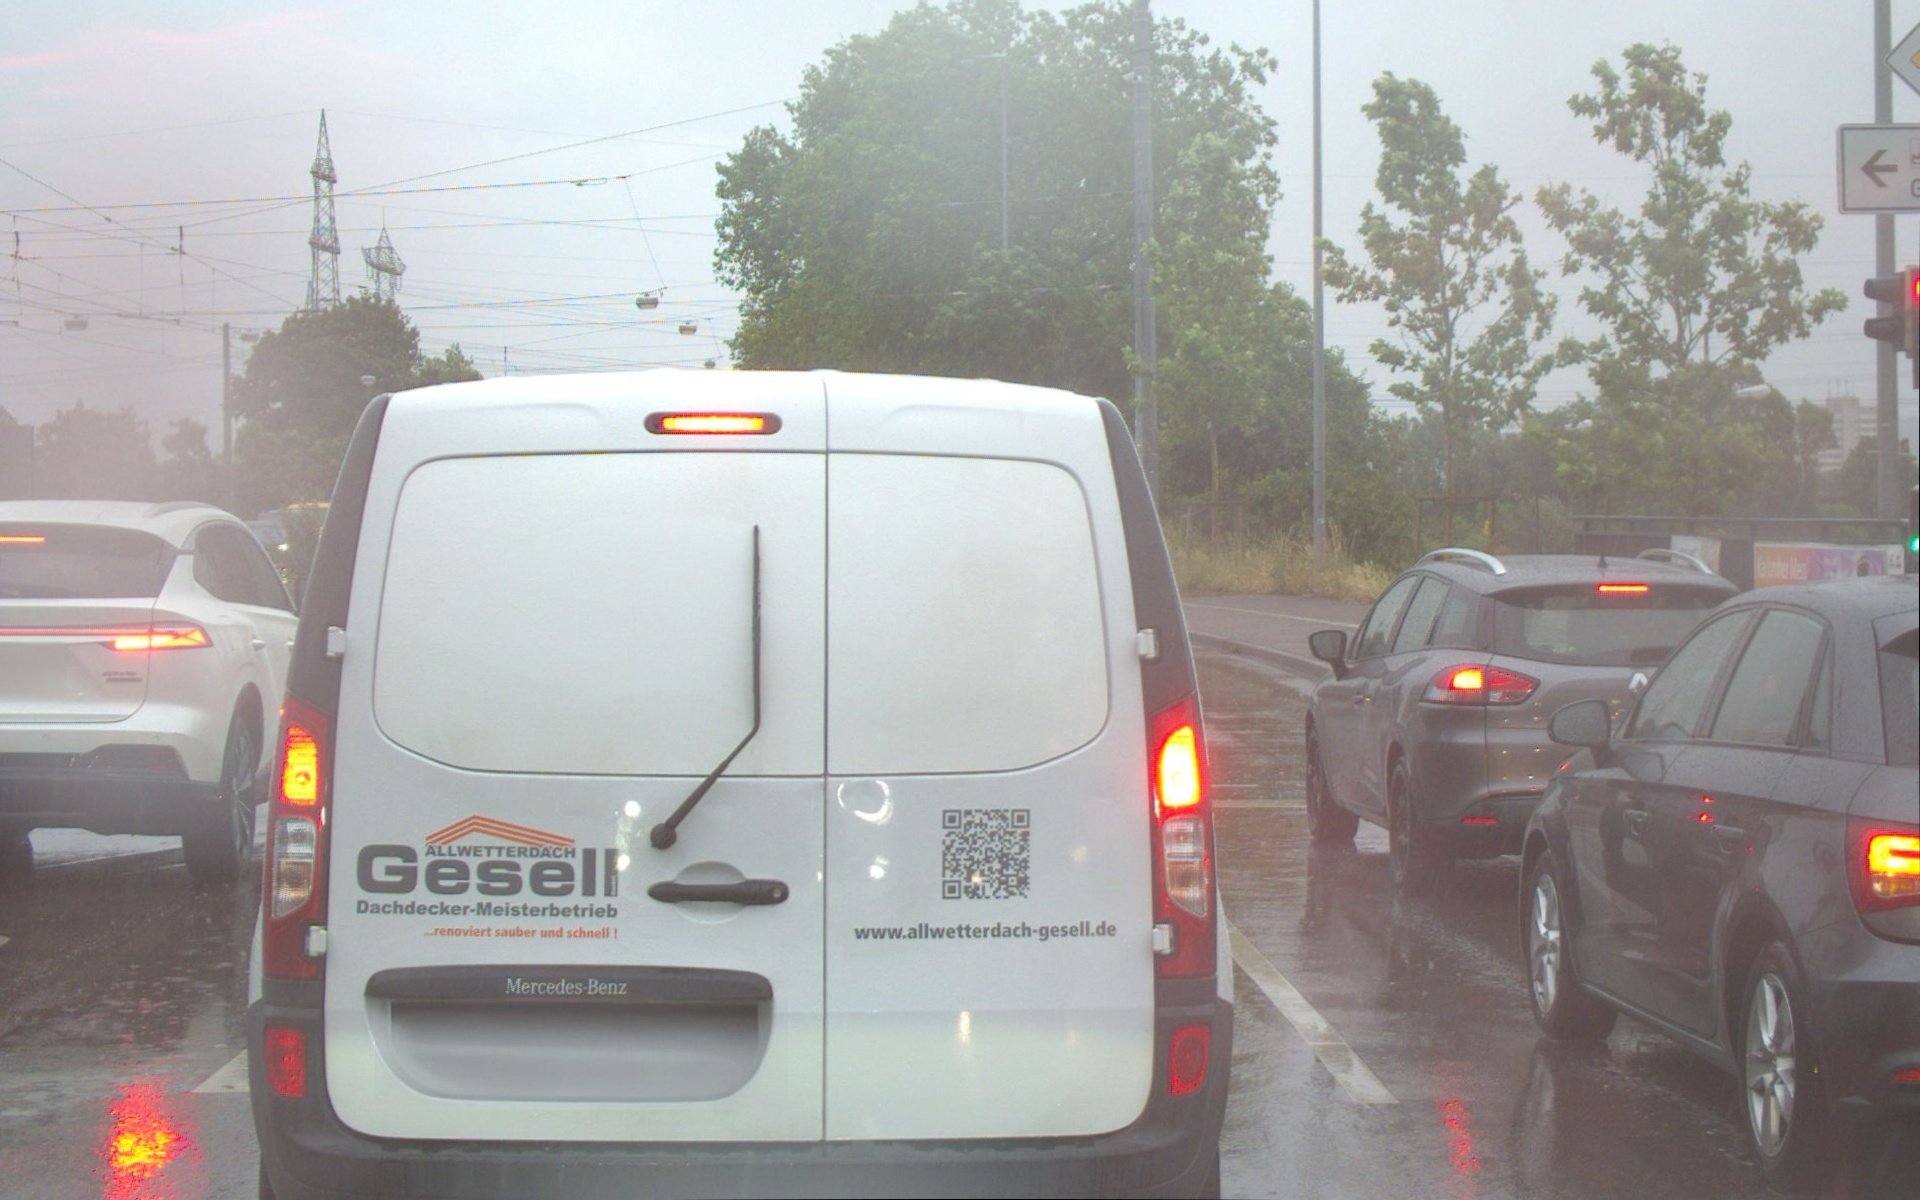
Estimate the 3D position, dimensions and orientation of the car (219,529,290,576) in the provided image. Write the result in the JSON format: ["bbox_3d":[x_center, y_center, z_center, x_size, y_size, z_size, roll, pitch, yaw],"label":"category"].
[{"bbox_3d":[-23.121,-1.547,112.770,1.559,1.421,3.569,2,0,-1],"label":"car"}]

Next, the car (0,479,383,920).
[{"bbox_3d":[-4.069,0.360,16.230,1.930,1.769,4.664,1,1,-1],"label":"car"}]

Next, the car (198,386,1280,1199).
[{"bbox_3d":[-0.504,0.469,7.712,1.754,1.744,4.170,1,2,-4],"label":"car"}]

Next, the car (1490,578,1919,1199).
[{"bbox_3d":[2.518,0.635,8.950,1.597,1.362,3.631,-1,0,-2],"label":"car"}]

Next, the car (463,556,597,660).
[{"bbox_3d":[-6.878,0.108,55.251,1.634,1.517,3.775,3,0,-1],"label":"car"}]

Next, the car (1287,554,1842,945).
[{"bbox_3d":[2.559,0.561,15.456,1.684,1.503,3.921,1,1,-1],"label":"car"}]

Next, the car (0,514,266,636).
[{"bbox_3d":[-10.892,-0.311,43.122,1.649,1.423,4.243,3,1,36],"label":"car"}]
